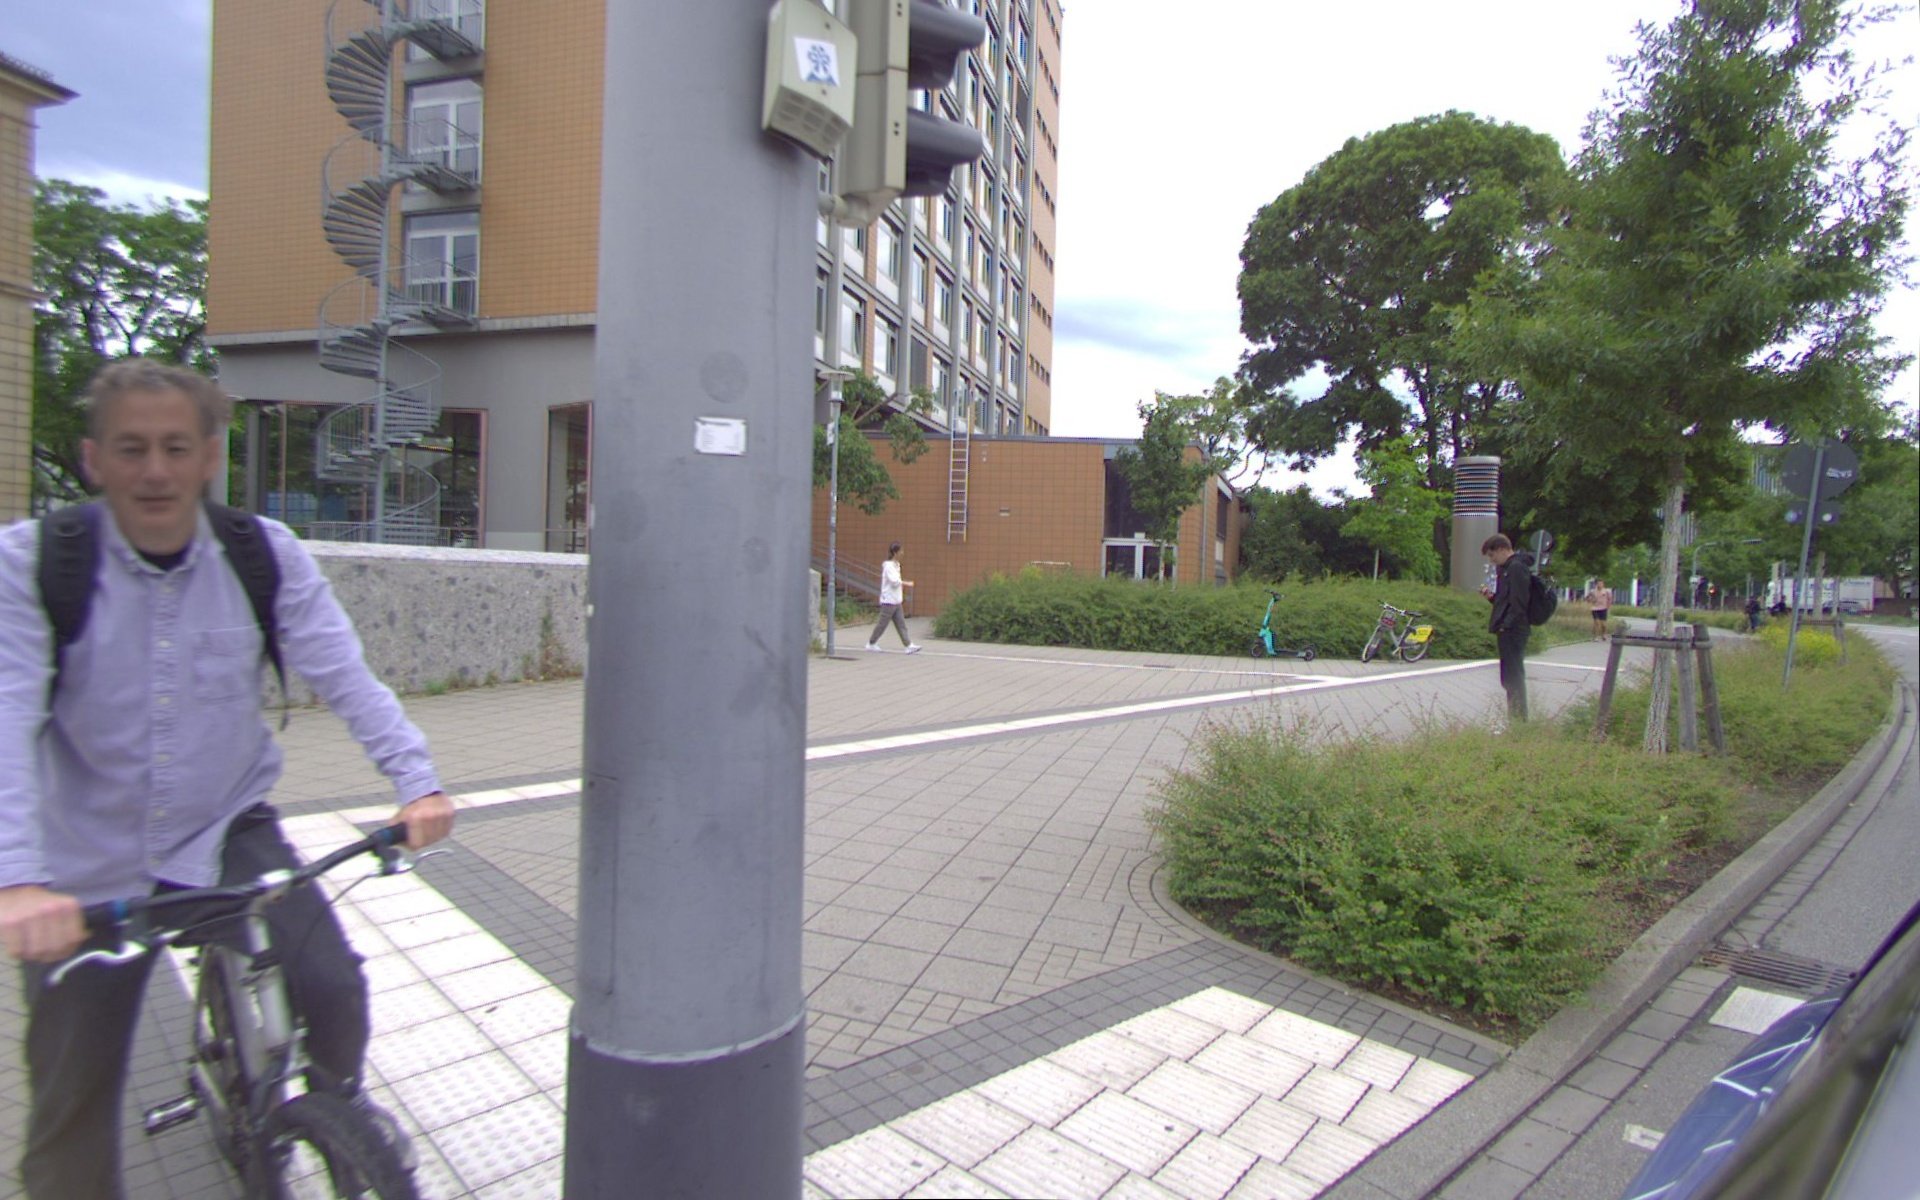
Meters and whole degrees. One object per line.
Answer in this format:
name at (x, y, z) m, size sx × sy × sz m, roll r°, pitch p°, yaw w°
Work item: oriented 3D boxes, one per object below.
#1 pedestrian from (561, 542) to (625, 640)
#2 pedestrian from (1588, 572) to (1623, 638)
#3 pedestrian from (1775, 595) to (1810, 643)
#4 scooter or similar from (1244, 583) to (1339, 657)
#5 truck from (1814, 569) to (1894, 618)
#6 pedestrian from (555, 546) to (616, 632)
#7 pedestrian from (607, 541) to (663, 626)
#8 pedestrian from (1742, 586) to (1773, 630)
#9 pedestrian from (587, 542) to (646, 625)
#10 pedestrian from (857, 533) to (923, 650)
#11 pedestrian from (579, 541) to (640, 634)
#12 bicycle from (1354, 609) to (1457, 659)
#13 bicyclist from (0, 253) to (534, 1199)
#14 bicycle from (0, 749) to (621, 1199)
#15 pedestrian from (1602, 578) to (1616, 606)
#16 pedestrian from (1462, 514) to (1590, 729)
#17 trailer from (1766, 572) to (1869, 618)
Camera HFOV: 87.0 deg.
pedestrian at (-6.811, -0.172, 18.810) m, size 0.859 × 1.752 × 0.723 m, roll 1°, pitch 0°, yaw 9°
pedestrian at (18.528, 0.138, 29.042) m, size 0.629 × 1.822 × 0.588 m, roll 6°, pitch 3°, yaw 43°
pedestrian at (33.046, 0.753, 40.175) m, size 0.708 × 1.822 × 0.598 m, roll 3°, pitch 2°, yaw 0°
scooter or similar at (5.983, 0.349, 18.337) m, size 1.582 × 1.306 × 0.691 m, roll 0°, pitch 0°, yaw 16°
truck at (78.734, -0.561, 89.339) m, size 2.878 × 4.076 × 7.112 m, roll 0°, pitch 0°, yaw 20°
pedestrian at (-7.377, -0.227, 19.938) m, size 0.864 × 1.651 × 0.718 m, roll 1°, pitch 1°, yaw 24°
pedestrian at (-6.889, -0.353, 21.461) m, size 0.864 × 1.758 × 0.718 m, roll 1°, pitch 1°, yaw 24°
pedestrian at (34.692, 0.333, 44.034) m, size 0.708 × 1.822 × 0.598 m, roll 3°, pitch 2°, yaw 0°
pedestrian at (-7.011, -0.349, 20.679) m, size 0.864 × 1.651 × 0.718 m, roll 1°, pitch 1°, yaw 24°
pedestrian at (-1.125, -0.149, 16.335) m, size 0.697 × 1.828 × 0.831 m, roll 1°, pitch 1°, yaw 27°
pedestrian at (-6.835, -0.252, 19.750) m, size 0.859 × 1.764 × 0.723 m, roll 1°, pitch 0°, yaw 9°
bicycle at (8.061, 0.608, 18.285) m, size 2.031 × 0.859 × 0.559 m, roll 1°, pitch 1°, yaw -28°
bicyclist at (-1.380, 0.339, 1.802) m, size 1.097 × 1.539 × 0.748 m, roll 2°, pitch 1°, yaw 43°
bicycle at (-1.427, 0.881, 1.830) m, size 1.821 × 0.850 × 0.755 m, roll 5°, pitch 3°, yaw 43°
pedestrian at (43.767, -0.546, 68.253) m, size 0.591 × 1.822 × 0.515 m, roll 4°, pitch 3°, yaw 24°
pedestrian at (5.401, 0.184, 9.708) m, size 0.861 × 1.952 × 0.721 m, roll 1°, pitch 0°, yaw 13°
trailer at (81.334, -0.493, 96.441) m, size 2.911 × 4.064 × 13.717 m, roll 0°, pitch 0°, yaw 20°
